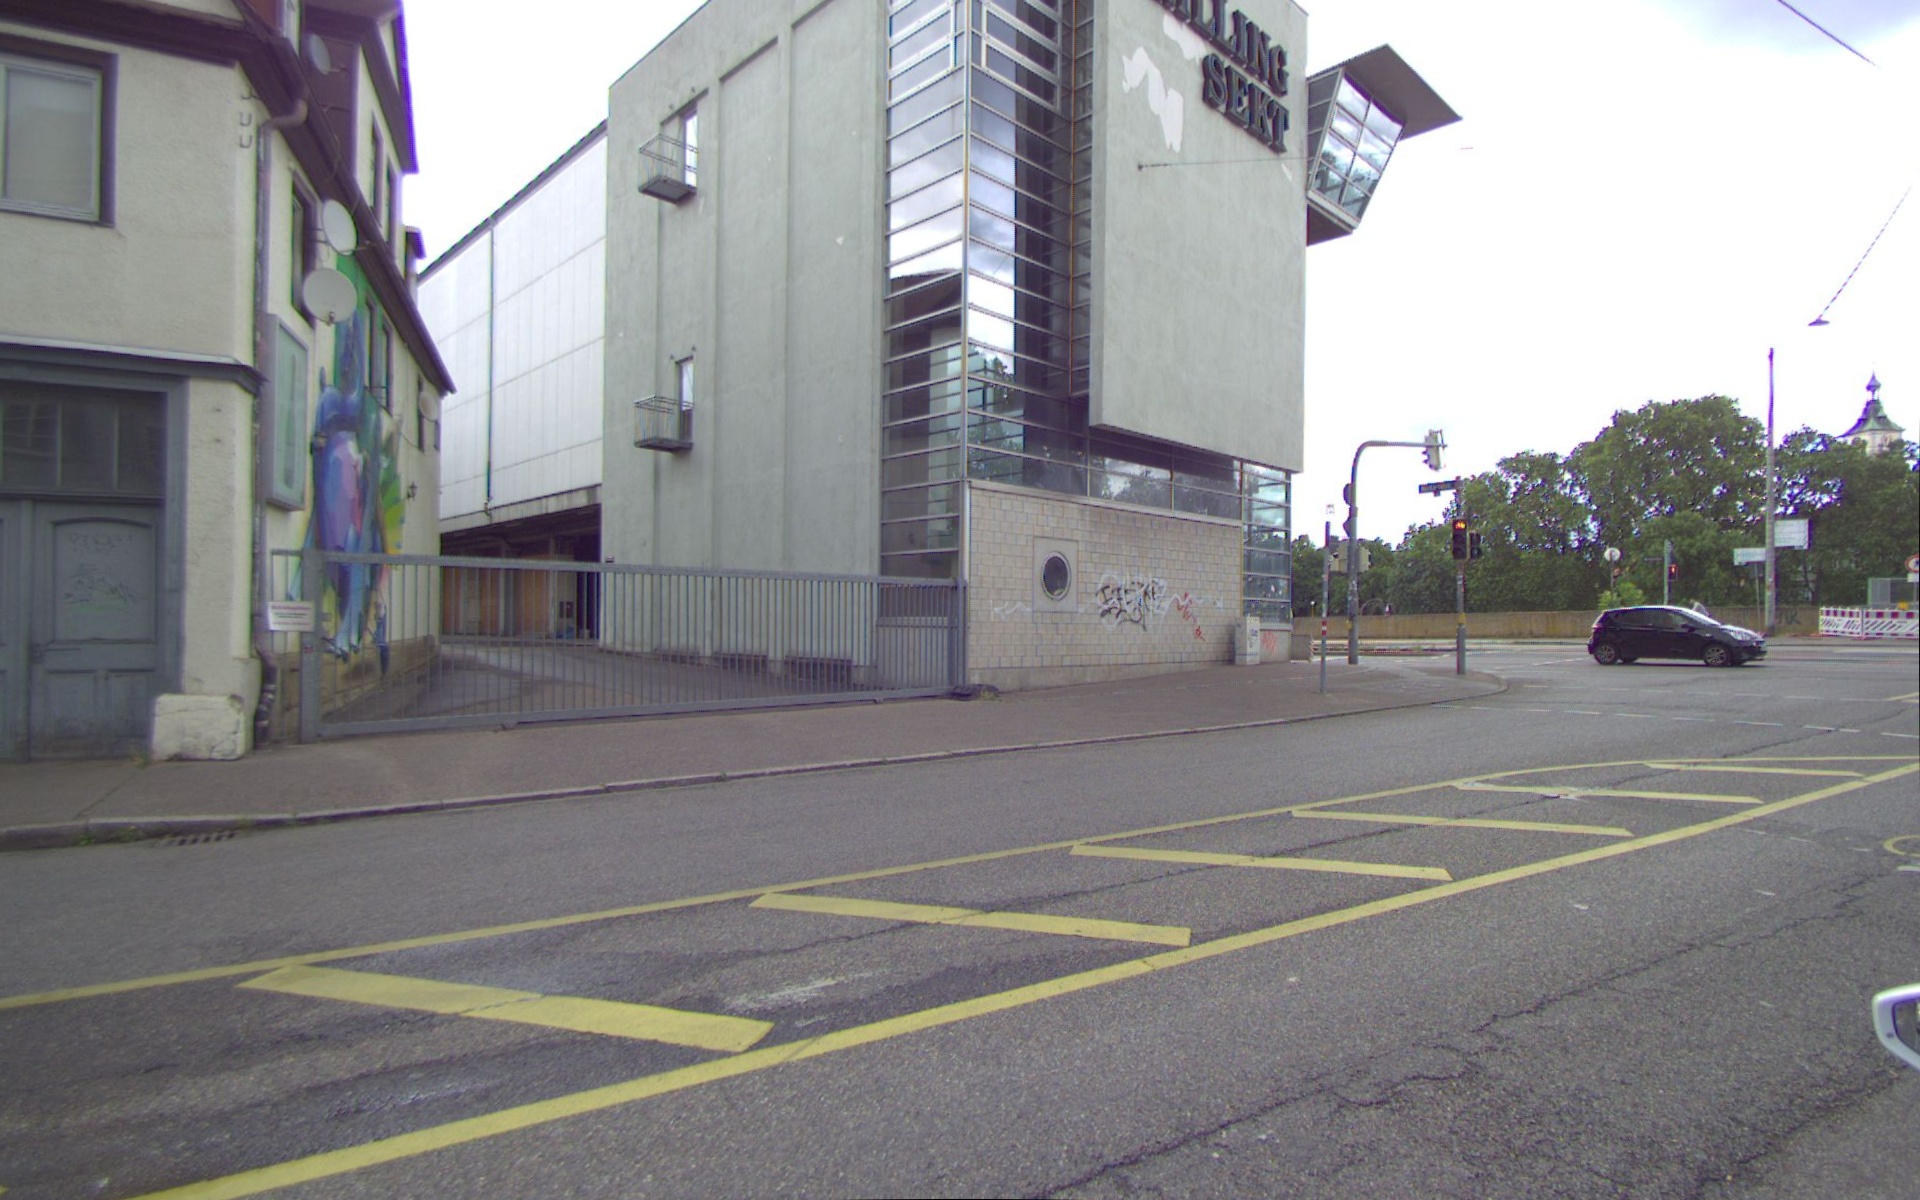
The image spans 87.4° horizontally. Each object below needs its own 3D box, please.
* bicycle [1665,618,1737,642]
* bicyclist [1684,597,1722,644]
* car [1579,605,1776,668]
[{"bbox_3d":[28.561,1.154,38.769,2.095,0.904,0.760,-1,0,17],"label":"bicycle"},{"bbox_3d":[28.637,0.782,38.741,0.985,1.767,0.755,0,0,19],"label":"bicyclist"},{"bbox_3d":[18.102,0.902,25.456,1.812,1.447,3.716,-1,-1,-38],"label":"car"}]
